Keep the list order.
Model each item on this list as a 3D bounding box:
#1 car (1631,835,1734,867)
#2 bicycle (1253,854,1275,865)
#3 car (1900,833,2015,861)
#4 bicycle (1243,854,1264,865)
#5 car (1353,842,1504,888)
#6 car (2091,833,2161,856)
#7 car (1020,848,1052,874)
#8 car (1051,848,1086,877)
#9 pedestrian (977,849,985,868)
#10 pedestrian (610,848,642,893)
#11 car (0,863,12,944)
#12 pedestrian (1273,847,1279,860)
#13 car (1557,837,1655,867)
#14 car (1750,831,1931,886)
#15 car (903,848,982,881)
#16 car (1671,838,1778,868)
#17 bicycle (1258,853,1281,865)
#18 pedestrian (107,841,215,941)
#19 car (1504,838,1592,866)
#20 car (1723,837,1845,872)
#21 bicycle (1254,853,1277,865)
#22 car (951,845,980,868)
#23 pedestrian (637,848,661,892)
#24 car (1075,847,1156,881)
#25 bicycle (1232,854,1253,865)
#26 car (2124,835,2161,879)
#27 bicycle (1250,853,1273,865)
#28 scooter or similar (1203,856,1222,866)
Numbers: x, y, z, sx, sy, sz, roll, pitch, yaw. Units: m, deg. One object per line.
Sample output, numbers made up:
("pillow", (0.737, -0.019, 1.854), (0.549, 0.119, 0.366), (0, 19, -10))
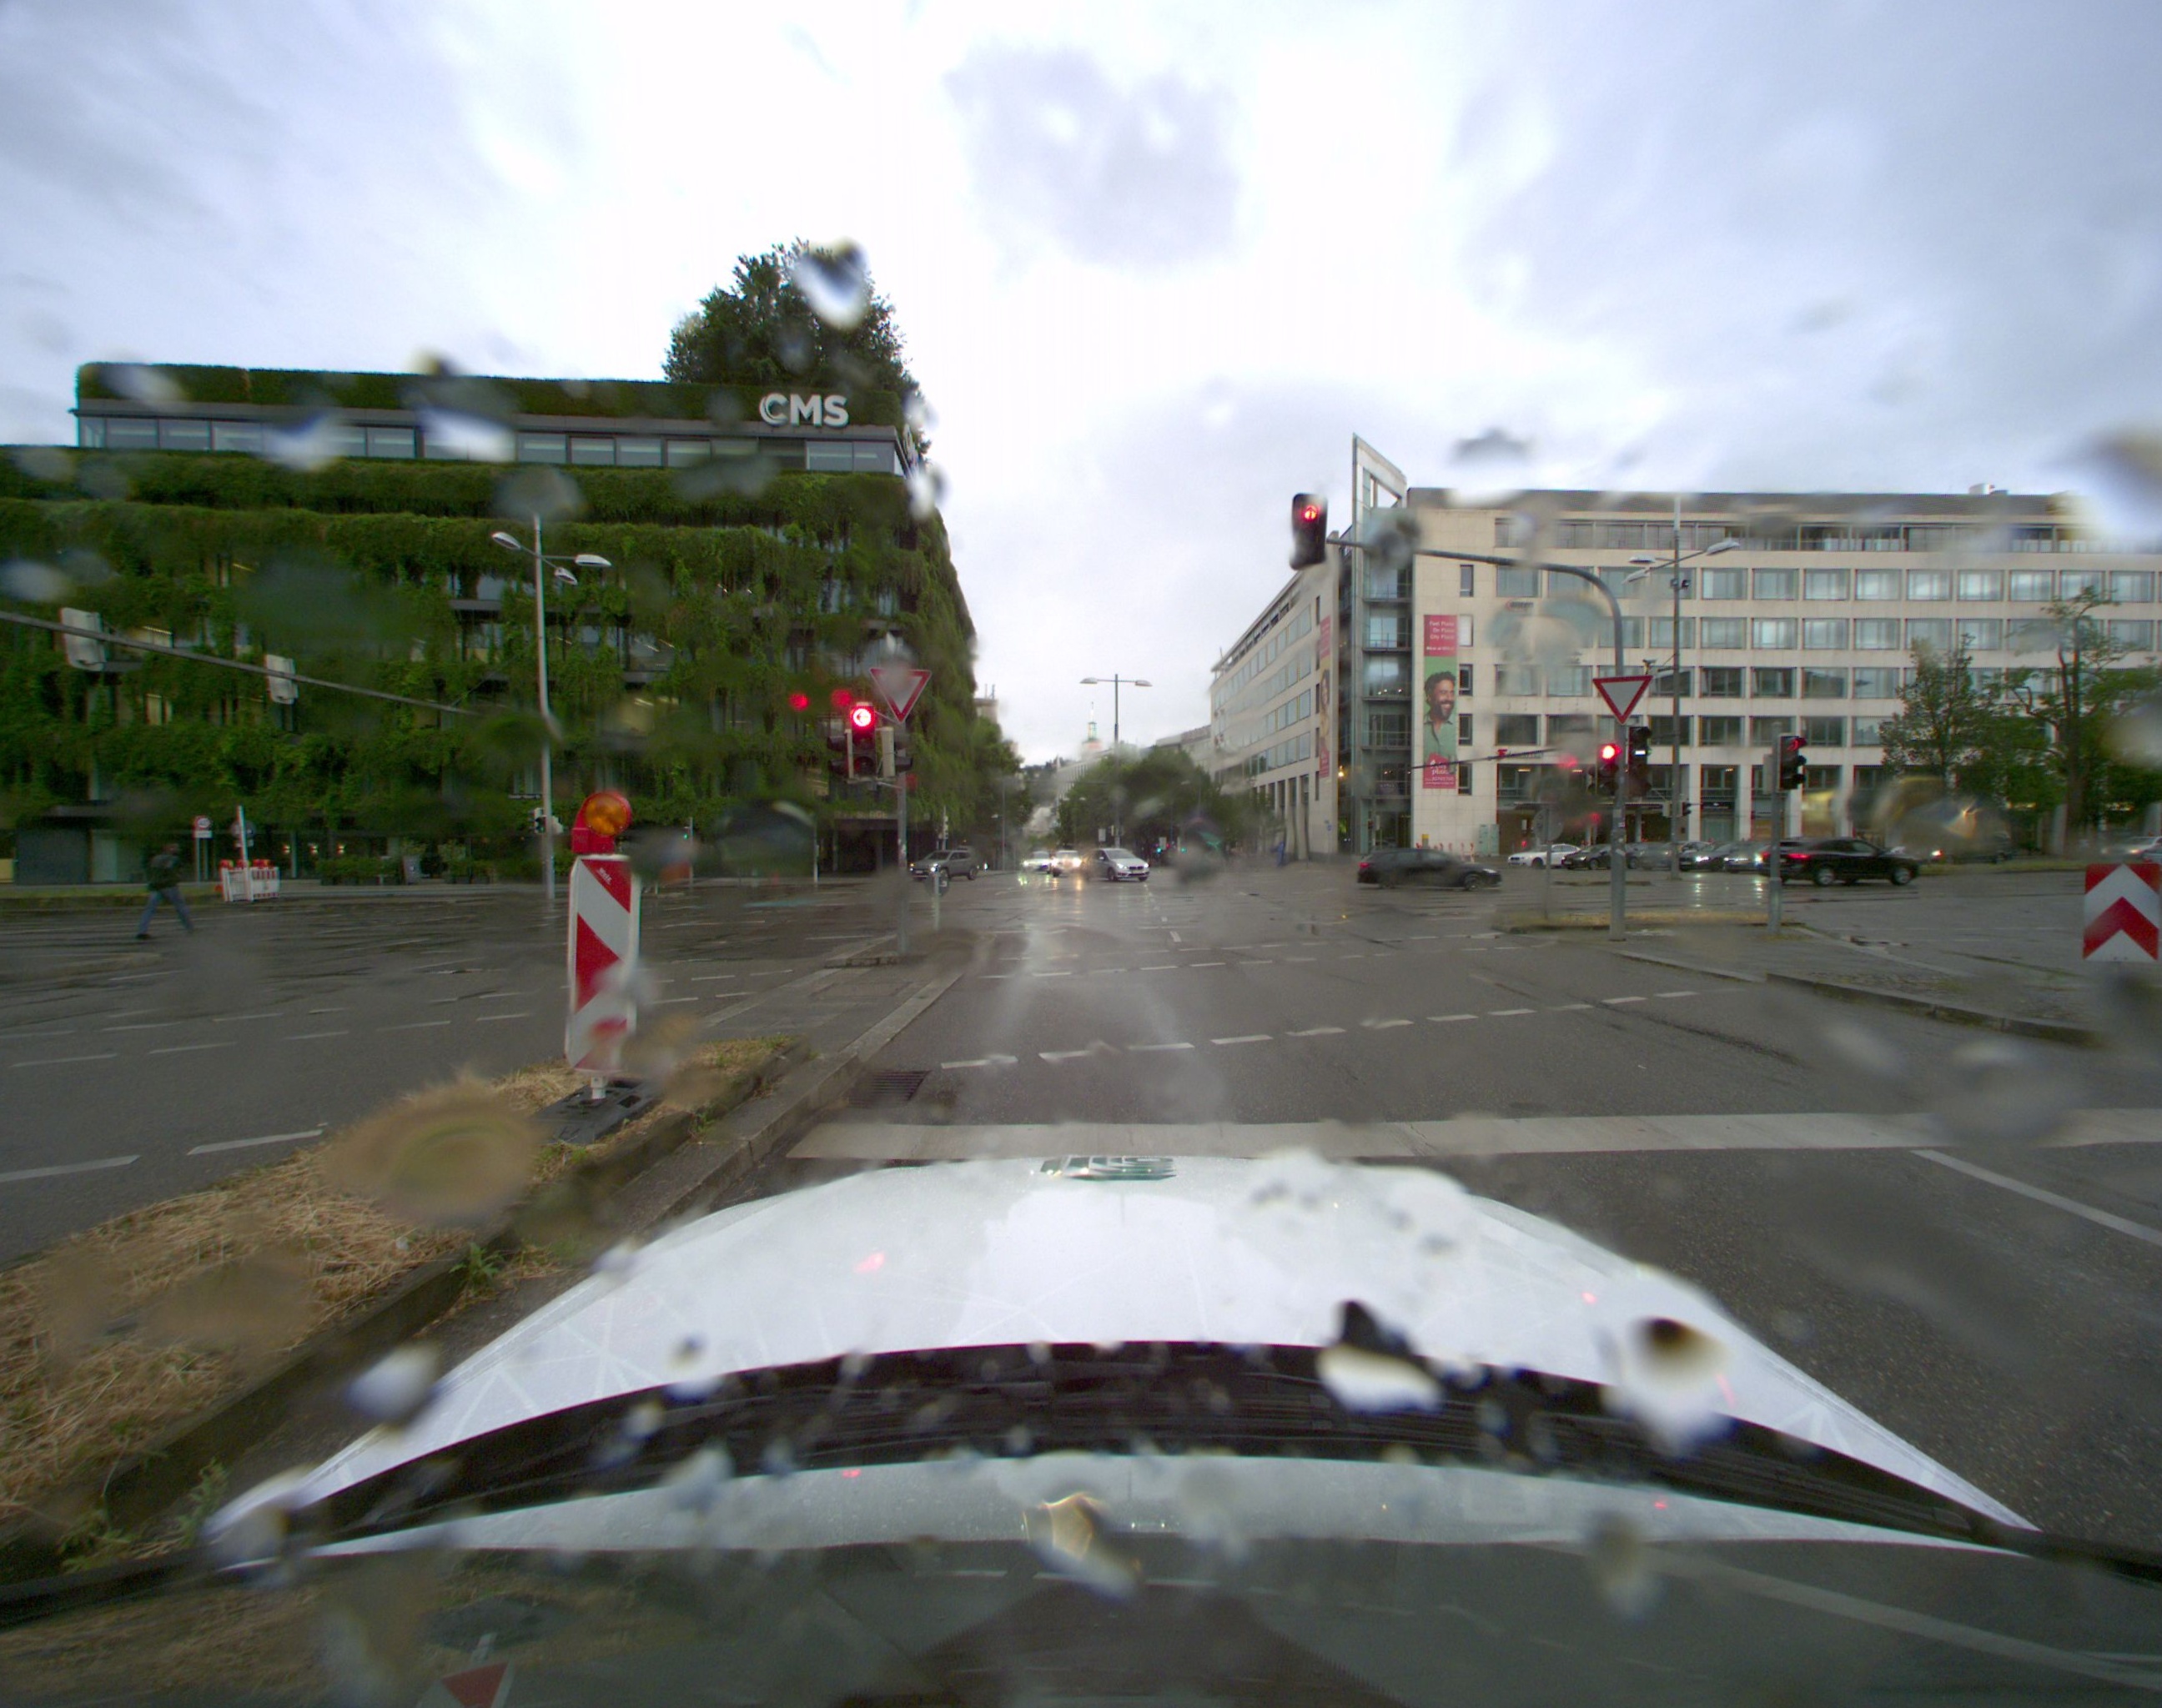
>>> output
("car", (31.673, -0.181, 42.903), (4.455, 1.598, 1.991), (-1, 0, -13))
("bicycle", (14.905, 0.441, 66.378), (1.778, 0.934, 0.478), (-1, 0, 43))
("car", (45.240, -0.362, 42.060), (4.637, 1.348, 1.919), (-1, 0, -12))
("bicycle", (14.966, 0.449, 70.708), (1.786, 0.934, 0.476), (-1, 0, 4))
("car", (11.788, 0.365, 27.774), (4.564, 1.448, 1.873), (-1, 1, 24))
("car", (63.100, -0.575, 48.241), (4.628, 1.348, 1.923), (-1, 0, -6))
("car", (-3.286, 0.516, 60.268), (2.169, 1.823, 4.640), (-1, 0, -2))
("car", (-0.753, 0.494, 48.889), (1.988, 1.529, 4.553), (-1, 1, -1))
("pedestrian", (-8.217, 0.395, 67.138), (0.605, 1.524, 0.587), (-1, 0, -3))
("pedestrian", (-18.146, 0.655, 32.495), (0.939, 1.758, 1.163), (-1, 0, -22))
("car", (-27.171, 1.206, 18.212), (3.451, 1.922, 1.992), (-1, 0, -11))
("pedestrian", (18.302, -0.051, 76.351), (0.409, 1.173, 0.356), (-1, -1, 41))
("car", (29.206, -0.126, 45.380), (4.451, 1.598, 1.993), (-1, 0, -10))
("car", (25.273, 0.114, 27.207), (4.339, 1.655, 1.969), (-1, 1, -2))
("car", (-7.190, 0.528, 42.767), (1.976, 1.598, 4.489), (-1, 0, 23))
("car", (31.224, -0.053, 39.555), (4.455, 1.348, 1.715), (-1, 0, -13))
("bicycle", (14.974, 0.395, 64.664), (1.778, 0.934, 0.478), (-1, 0, 43))
("pedestrian", (-17.982, 0.700, 15.958), (0.687, 1.885, 1.236), (1, 0, -3))
("car", (27.896, -0.134, 48.681), (4.456, 1.598, 1.991), (-1, 0, -14))
("car", (31.131, 0.000, 36.093), (4.452, 1.464, 1.716), (-1, 0, -11))
("bicycle", (14.843, 0.402, 65.634), (1.778, 0.934, 0.478), (-1, 0, 43))
("car", (-9.707, 0.205, 68.712), (1.989, 1.895, 4.461), (-1, 0, -2))
("pedestrian", (-17.401, 0.627, 32.812), (0.744, 1.758, 0.969), (-1, 0, -22))
("car", (1.551, 0.431, 38.565), (2.003, 1.443, 4.518), (-2, 1, -25))
("bicycle", (14.398, 0.464, 72.571), (1.786, 0.934, 0.476), (-1, 0, 4))
("car", (39.536, 0.053, 28.621), (4.457, 1.486, 1.990), (-2, 1, -15))
("bicycle", (14.184, 0.410, 64.041), (1.778, 0.934, 0.478), (-1, 0, 43))
("scooter or similar", (12.856, 0.689, 79.671), (1.750, 0.878, 0.486), (-1, 0, -18))
